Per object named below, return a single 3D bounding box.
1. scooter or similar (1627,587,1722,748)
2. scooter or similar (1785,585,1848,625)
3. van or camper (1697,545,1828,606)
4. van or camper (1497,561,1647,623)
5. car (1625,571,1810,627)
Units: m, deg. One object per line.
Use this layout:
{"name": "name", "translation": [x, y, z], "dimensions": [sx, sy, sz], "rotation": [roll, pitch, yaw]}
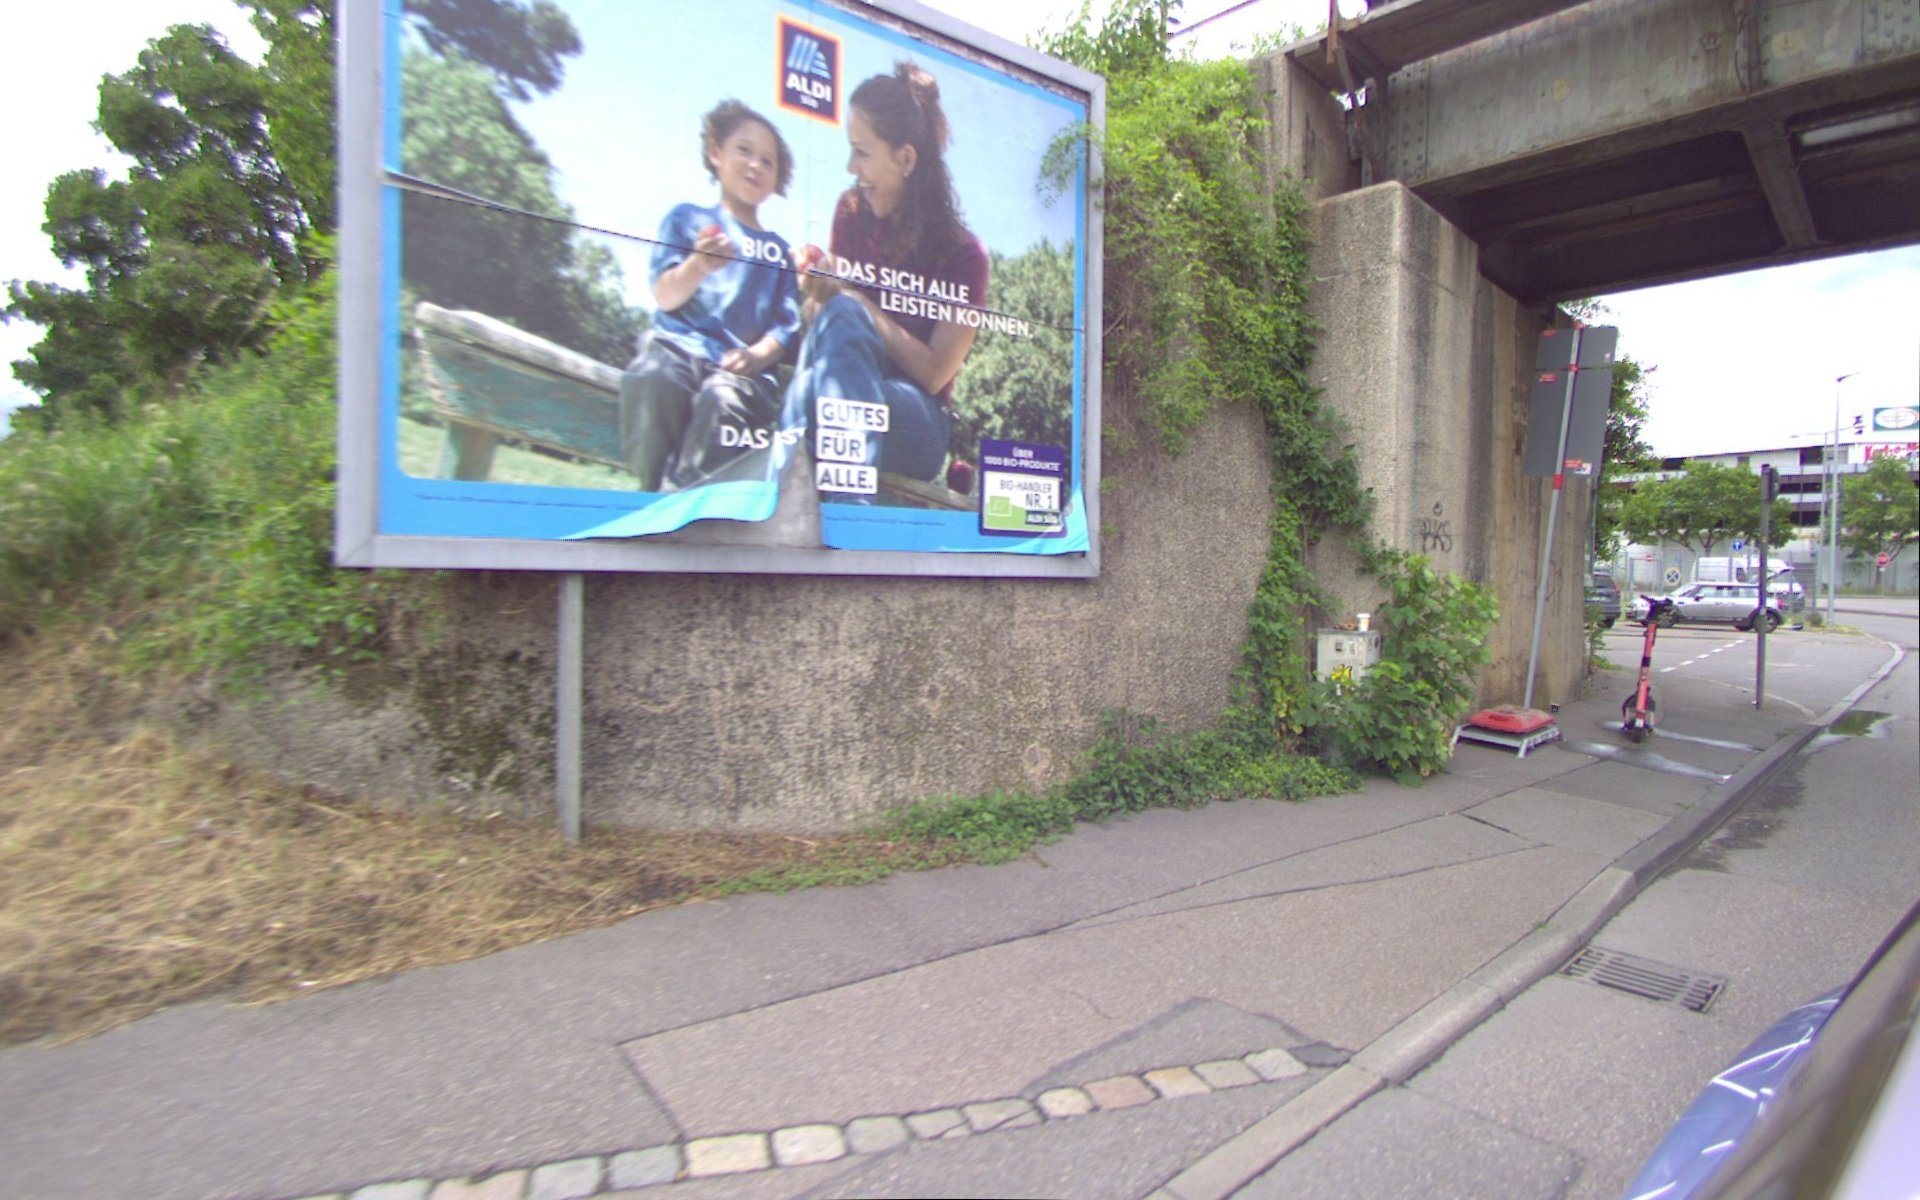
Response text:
{"name": "scooter or similar", "translation": [6.348, 0.542, 9.048], "dimensions": [0.502, 1.250, 1.651], "rotation": [6, 5, 32]}
{"name": "scooter or similar", "translation": [26.649, 0.152, 31.499], "dimensions": [0.472, 1.147, 1.417], "rotation": [-1, 4, -43]}
{"name": "van or camper", "translation": [36.754, -1.170, 46.615], "dimensions": [2.238, 2.588, 6.087], "rotation": [0, 2, 12]}
{"name": "van or camper", "translation": [17.996, -0.298, 30.034], "dimensions": [1.799, 1.715, 4.505], "rotation": [0, 2, 2]}
{"name": "car", "translation": [22.354, -0.077, 30.061], "dimensions": [3.972, 1.449, 1.774], "rotation": [2, 2, 21]}
